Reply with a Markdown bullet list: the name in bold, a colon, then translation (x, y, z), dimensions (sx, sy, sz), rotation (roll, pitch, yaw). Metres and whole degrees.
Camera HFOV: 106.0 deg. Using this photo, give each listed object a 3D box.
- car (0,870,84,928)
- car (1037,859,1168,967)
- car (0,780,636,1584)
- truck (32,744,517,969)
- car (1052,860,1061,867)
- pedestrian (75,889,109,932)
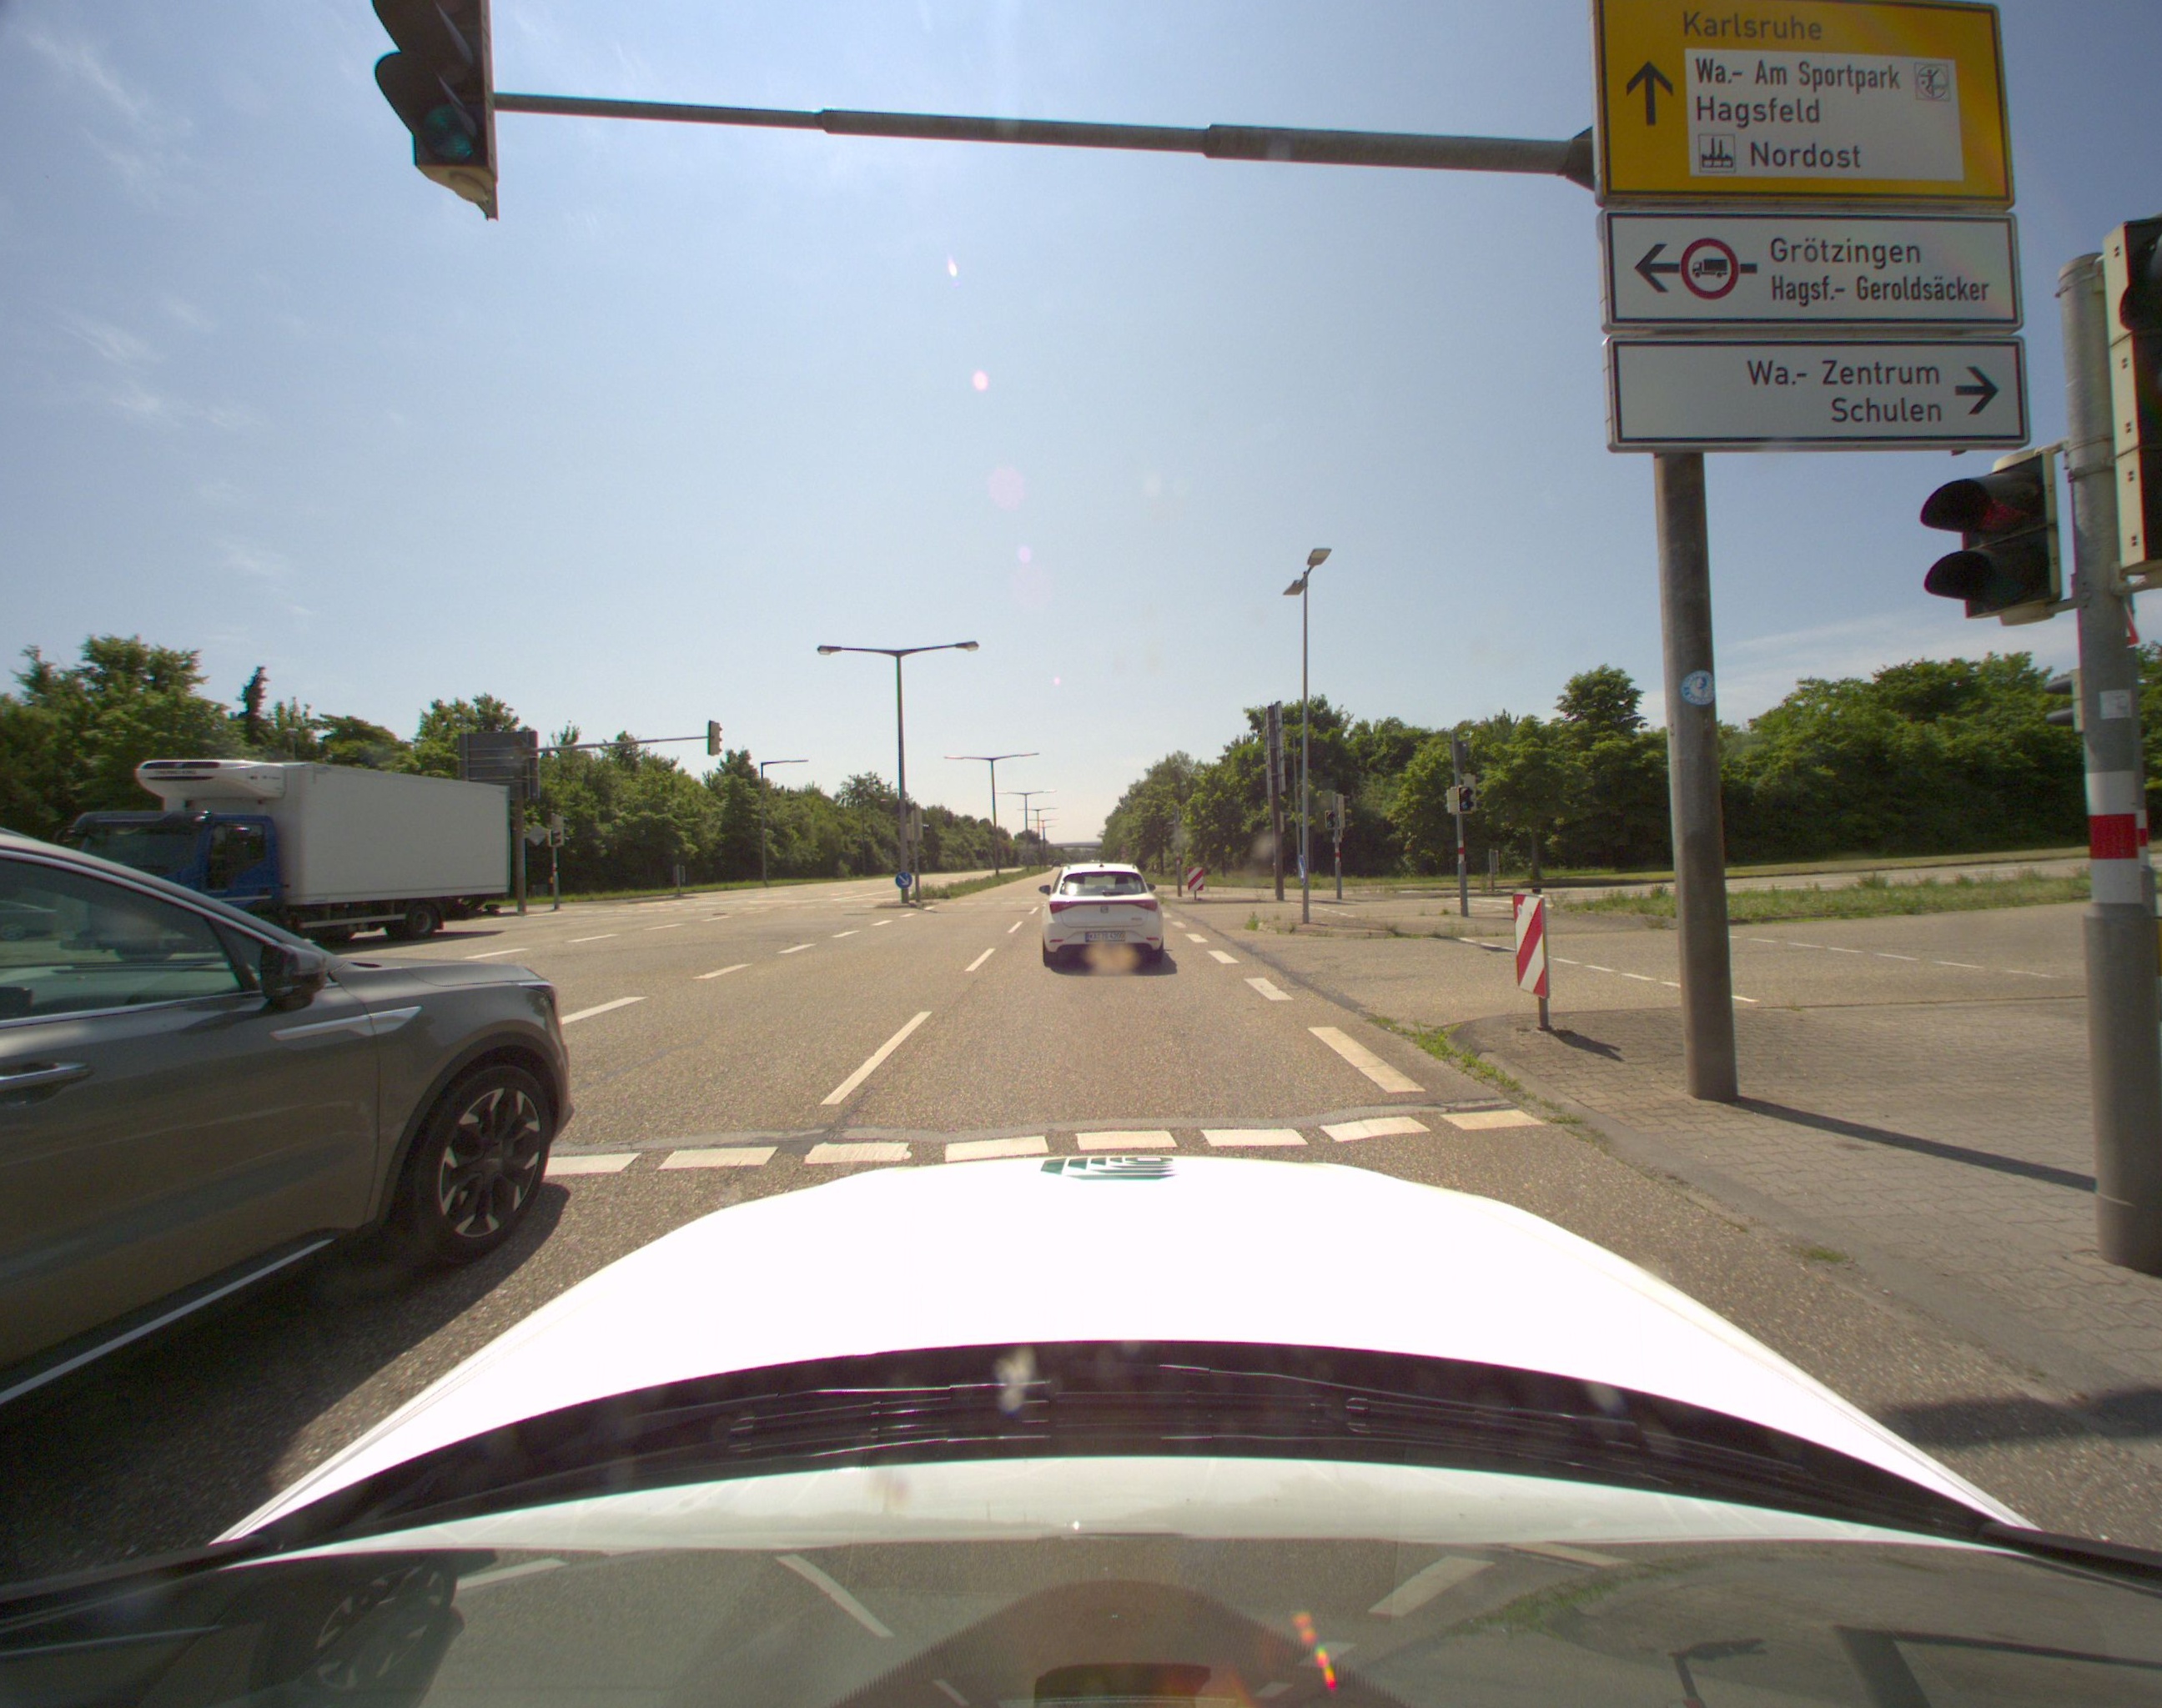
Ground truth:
- **car**: translation (-34.873, 1.446, 25.060), dimensions (4.945, 1.732, 1.809), rotation (-2, 0, -34)
- **car**: translation (0.317, 0.812, 12.644), dimensions (1.728, 1.428, 3.694), rotation (0, -1, 1)
- **car**: translation (-3.149, 0.701, 1.691), dimensions (1.797, 1.662, 4.644), rotation (-2, -1, 1)
- **truck**: translation (-15.567, 0.048, 16.816), dimensions (2.678, 3.570, 7.267), rotation (-1, 0, 0)
- **car**: translation (-6.173, 2.507, 207.734), dimensions (1.847, 1.709, 4.003), rotation (-2, 0, 3)
- **pedestrian**: translation (-38.567, 2.182, 31.773), dimensions (0.620, 1.603, 0.790), rotation (-2, -1, -35)
